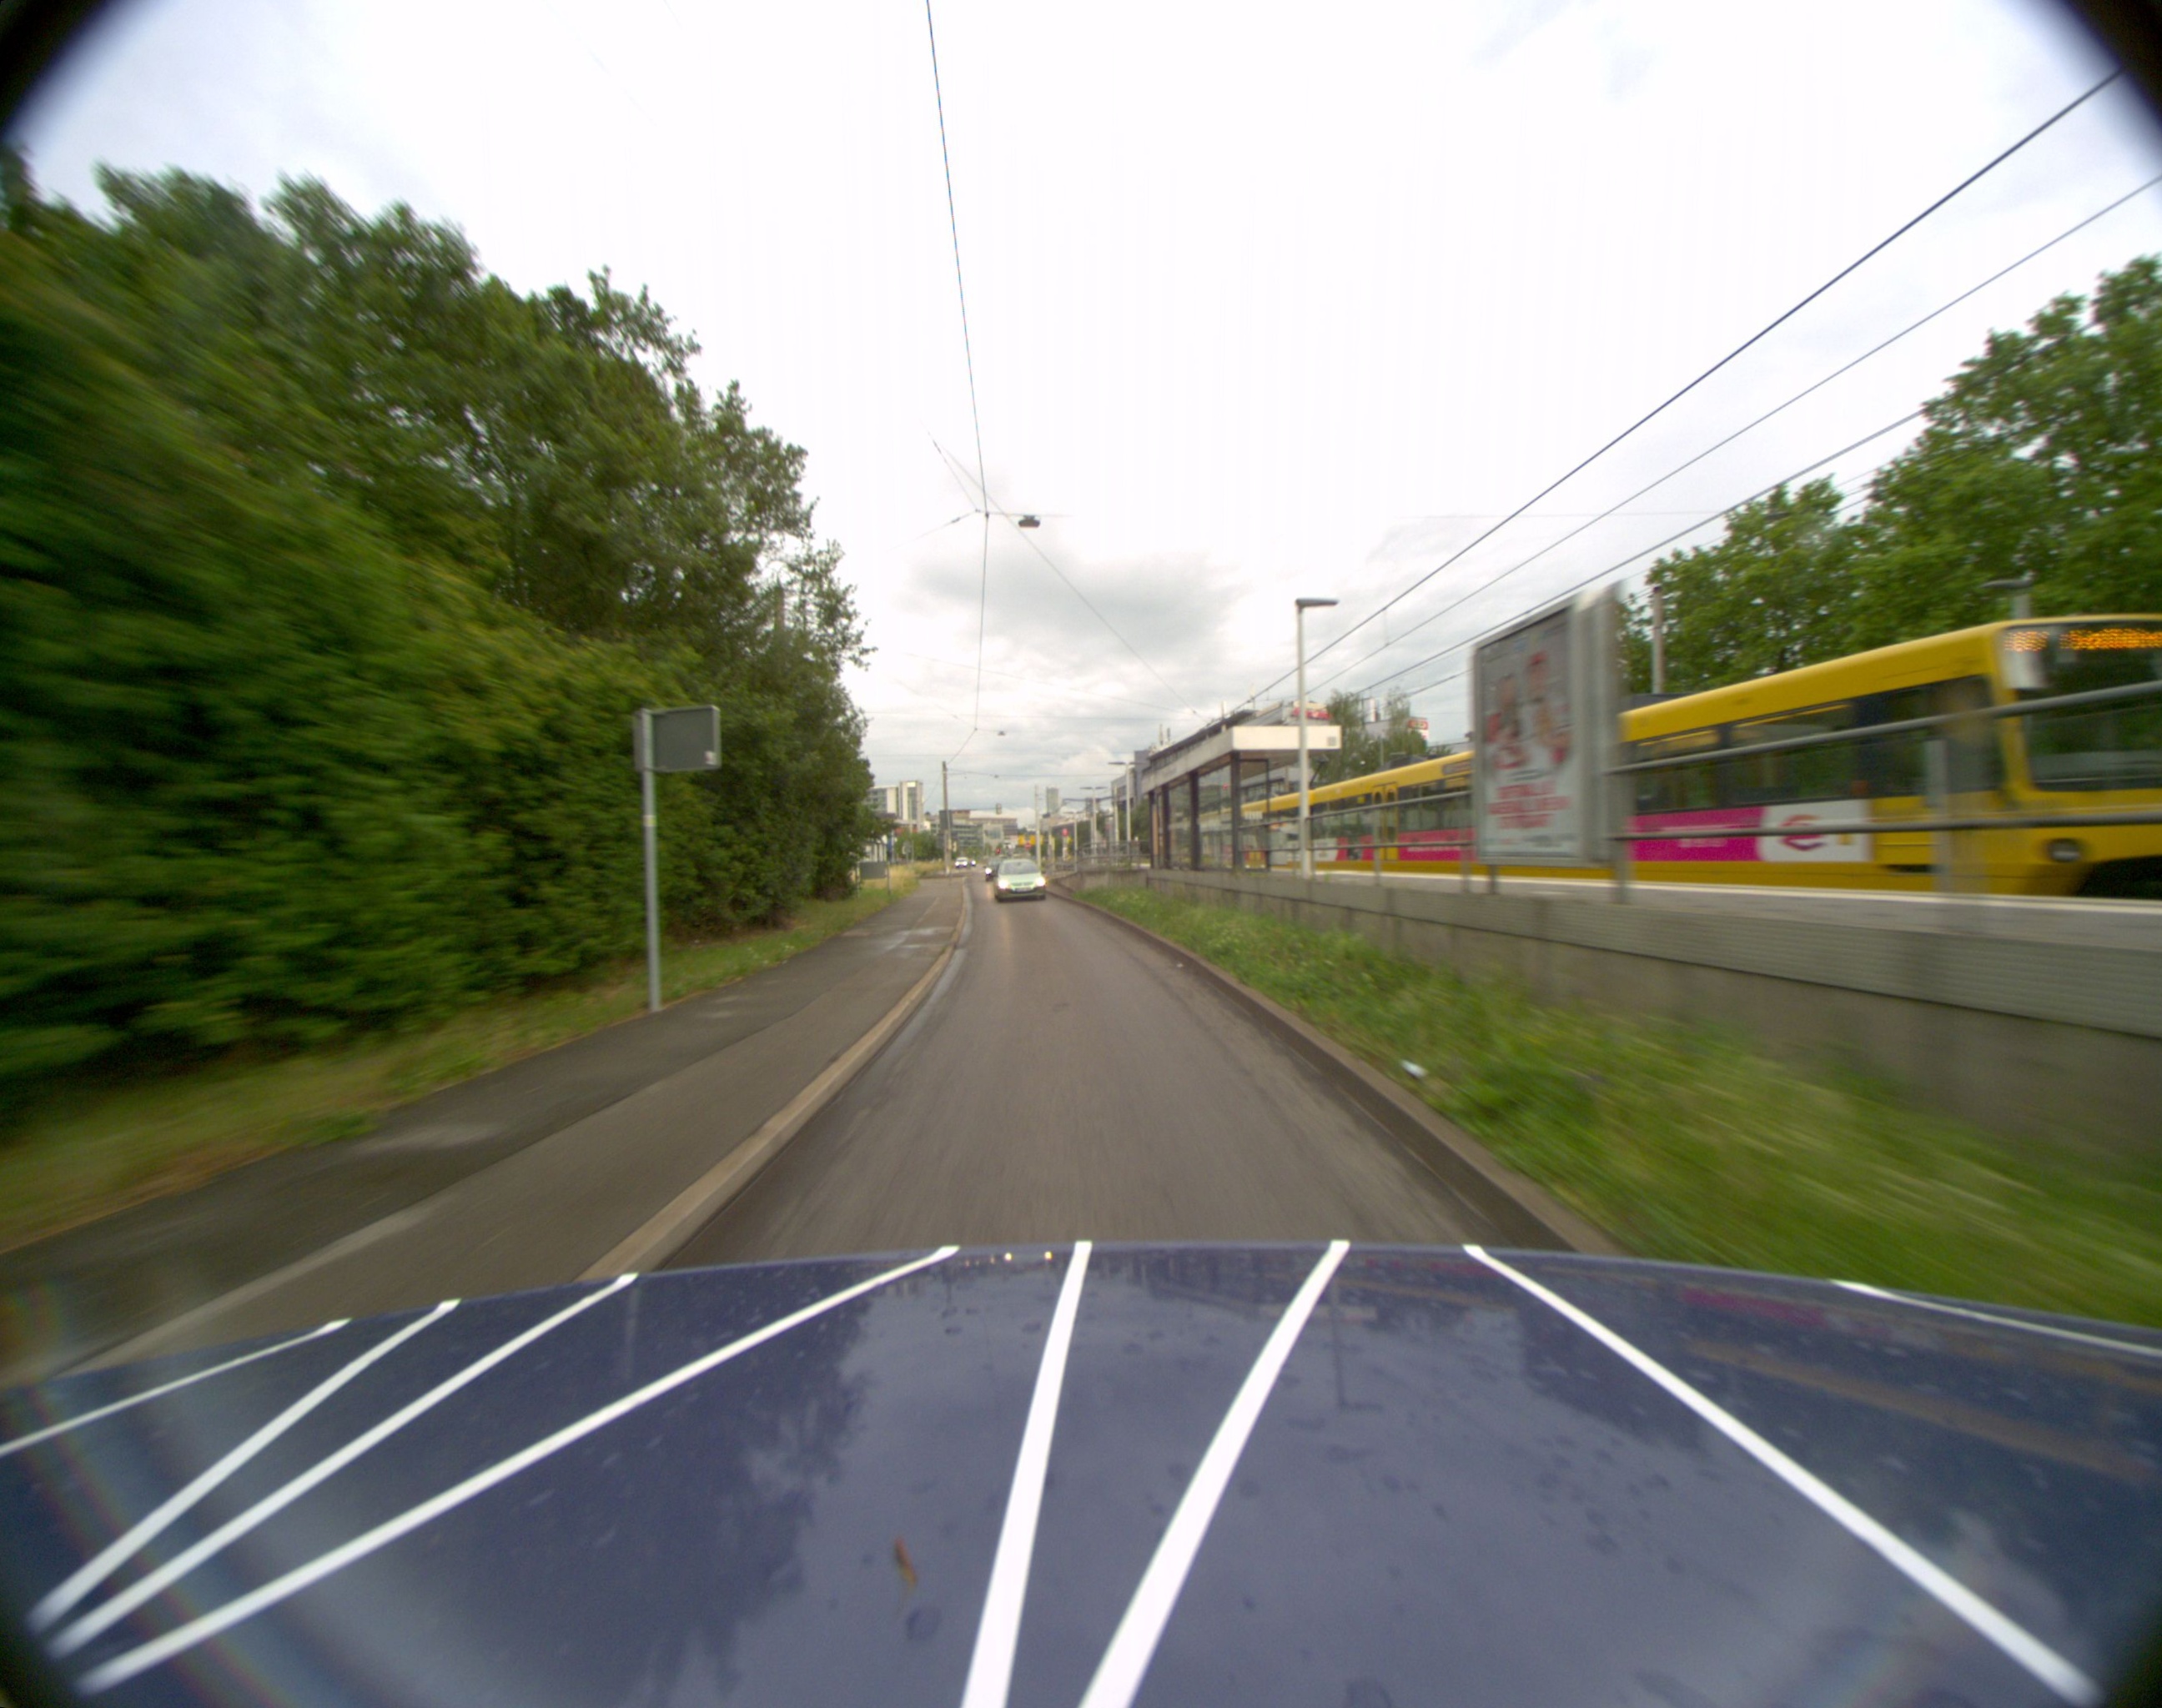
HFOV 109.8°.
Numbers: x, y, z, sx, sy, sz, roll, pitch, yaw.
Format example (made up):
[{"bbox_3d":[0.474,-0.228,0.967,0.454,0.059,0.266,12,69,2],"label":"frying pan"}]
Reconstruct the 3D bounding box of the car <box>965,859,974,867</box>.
[{"bbox_3d":[-21.279,1.772,145.374,1.703,1.429,3.963,-3,0,-8],"label":"car"}]

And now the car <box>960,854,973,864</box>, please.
[{"bbox_3d":[-18.530,0.856,123.263,1.994,1.531,4.106,-3,0,-8],"label":"car"}]

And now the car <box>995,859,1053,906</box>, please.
[{"bbox_3d":[-2.035,1.009,28.279,1.780,1.493,3.999,-1,1,1],"label":"car"}]

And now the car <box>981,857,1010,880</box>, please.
[{"bbox_3d":[-5.891,0.969,52.710,1.781,1.493,3.998,-3,0,-5],"label":"car"}]

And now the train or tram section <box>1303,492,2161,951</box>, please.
[{"bbox_3d":[9.746,-1.329,16.288,2.876,3.931,19.321,-4,1,-4],"label":"train or tram section"}]

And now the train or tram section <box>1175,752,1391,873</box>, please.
[{"bbox_3d":[8.127,-1.518,35.577,2.876,3.950,19.317,-4,1,-6],"label":"train or tram section"}]

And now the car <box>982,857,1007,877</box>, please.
[{"bbox_3d":[-7.762,1.179,68.395,1.999,1.563,3.998,-4,1,-4],"label":"car"}]
